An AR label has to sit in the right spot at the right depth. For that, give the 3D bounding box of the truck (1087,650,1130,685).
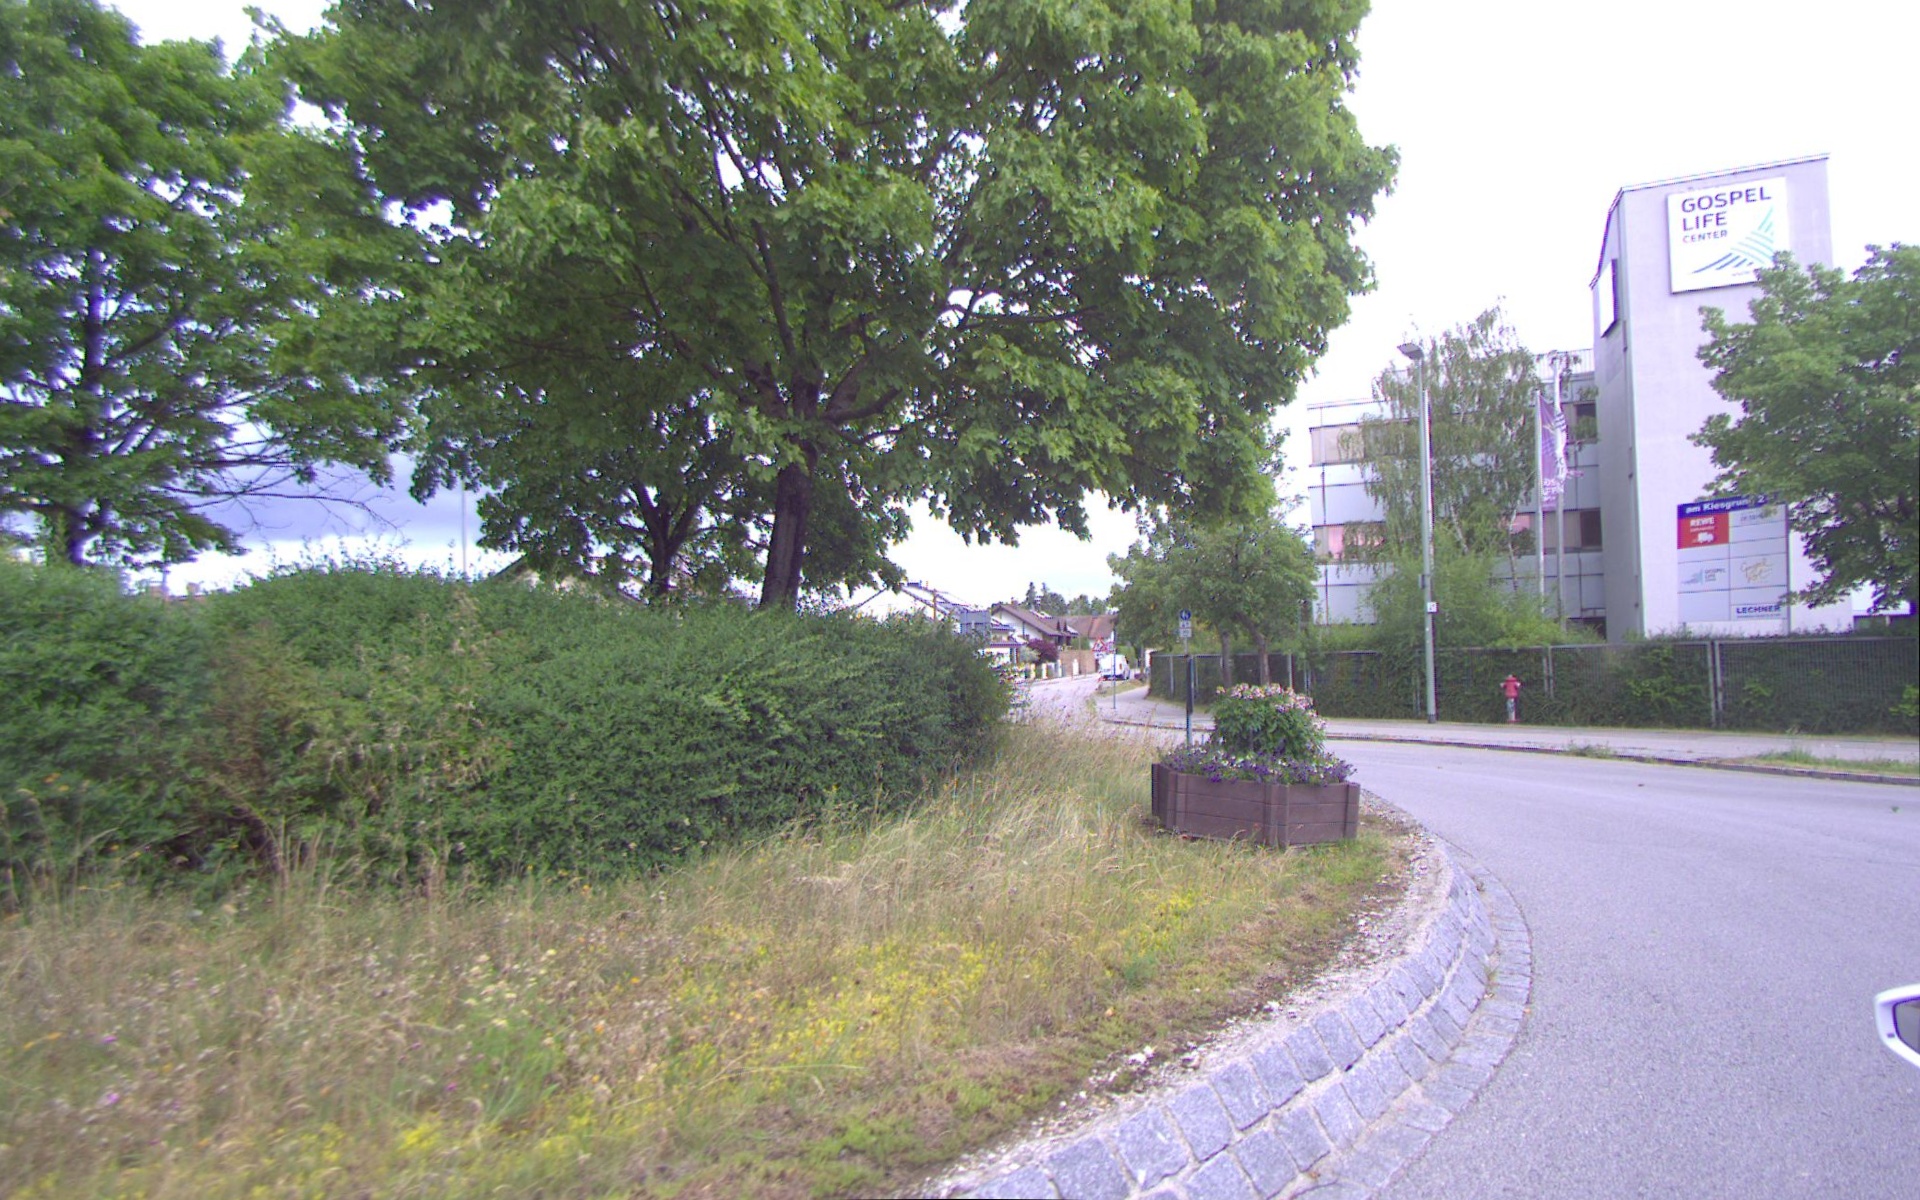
[{"bbox_3d":[11.603,5.217,77.999,2.245,2.532,5.285,-2,-3,19],"label":"truck"}]
